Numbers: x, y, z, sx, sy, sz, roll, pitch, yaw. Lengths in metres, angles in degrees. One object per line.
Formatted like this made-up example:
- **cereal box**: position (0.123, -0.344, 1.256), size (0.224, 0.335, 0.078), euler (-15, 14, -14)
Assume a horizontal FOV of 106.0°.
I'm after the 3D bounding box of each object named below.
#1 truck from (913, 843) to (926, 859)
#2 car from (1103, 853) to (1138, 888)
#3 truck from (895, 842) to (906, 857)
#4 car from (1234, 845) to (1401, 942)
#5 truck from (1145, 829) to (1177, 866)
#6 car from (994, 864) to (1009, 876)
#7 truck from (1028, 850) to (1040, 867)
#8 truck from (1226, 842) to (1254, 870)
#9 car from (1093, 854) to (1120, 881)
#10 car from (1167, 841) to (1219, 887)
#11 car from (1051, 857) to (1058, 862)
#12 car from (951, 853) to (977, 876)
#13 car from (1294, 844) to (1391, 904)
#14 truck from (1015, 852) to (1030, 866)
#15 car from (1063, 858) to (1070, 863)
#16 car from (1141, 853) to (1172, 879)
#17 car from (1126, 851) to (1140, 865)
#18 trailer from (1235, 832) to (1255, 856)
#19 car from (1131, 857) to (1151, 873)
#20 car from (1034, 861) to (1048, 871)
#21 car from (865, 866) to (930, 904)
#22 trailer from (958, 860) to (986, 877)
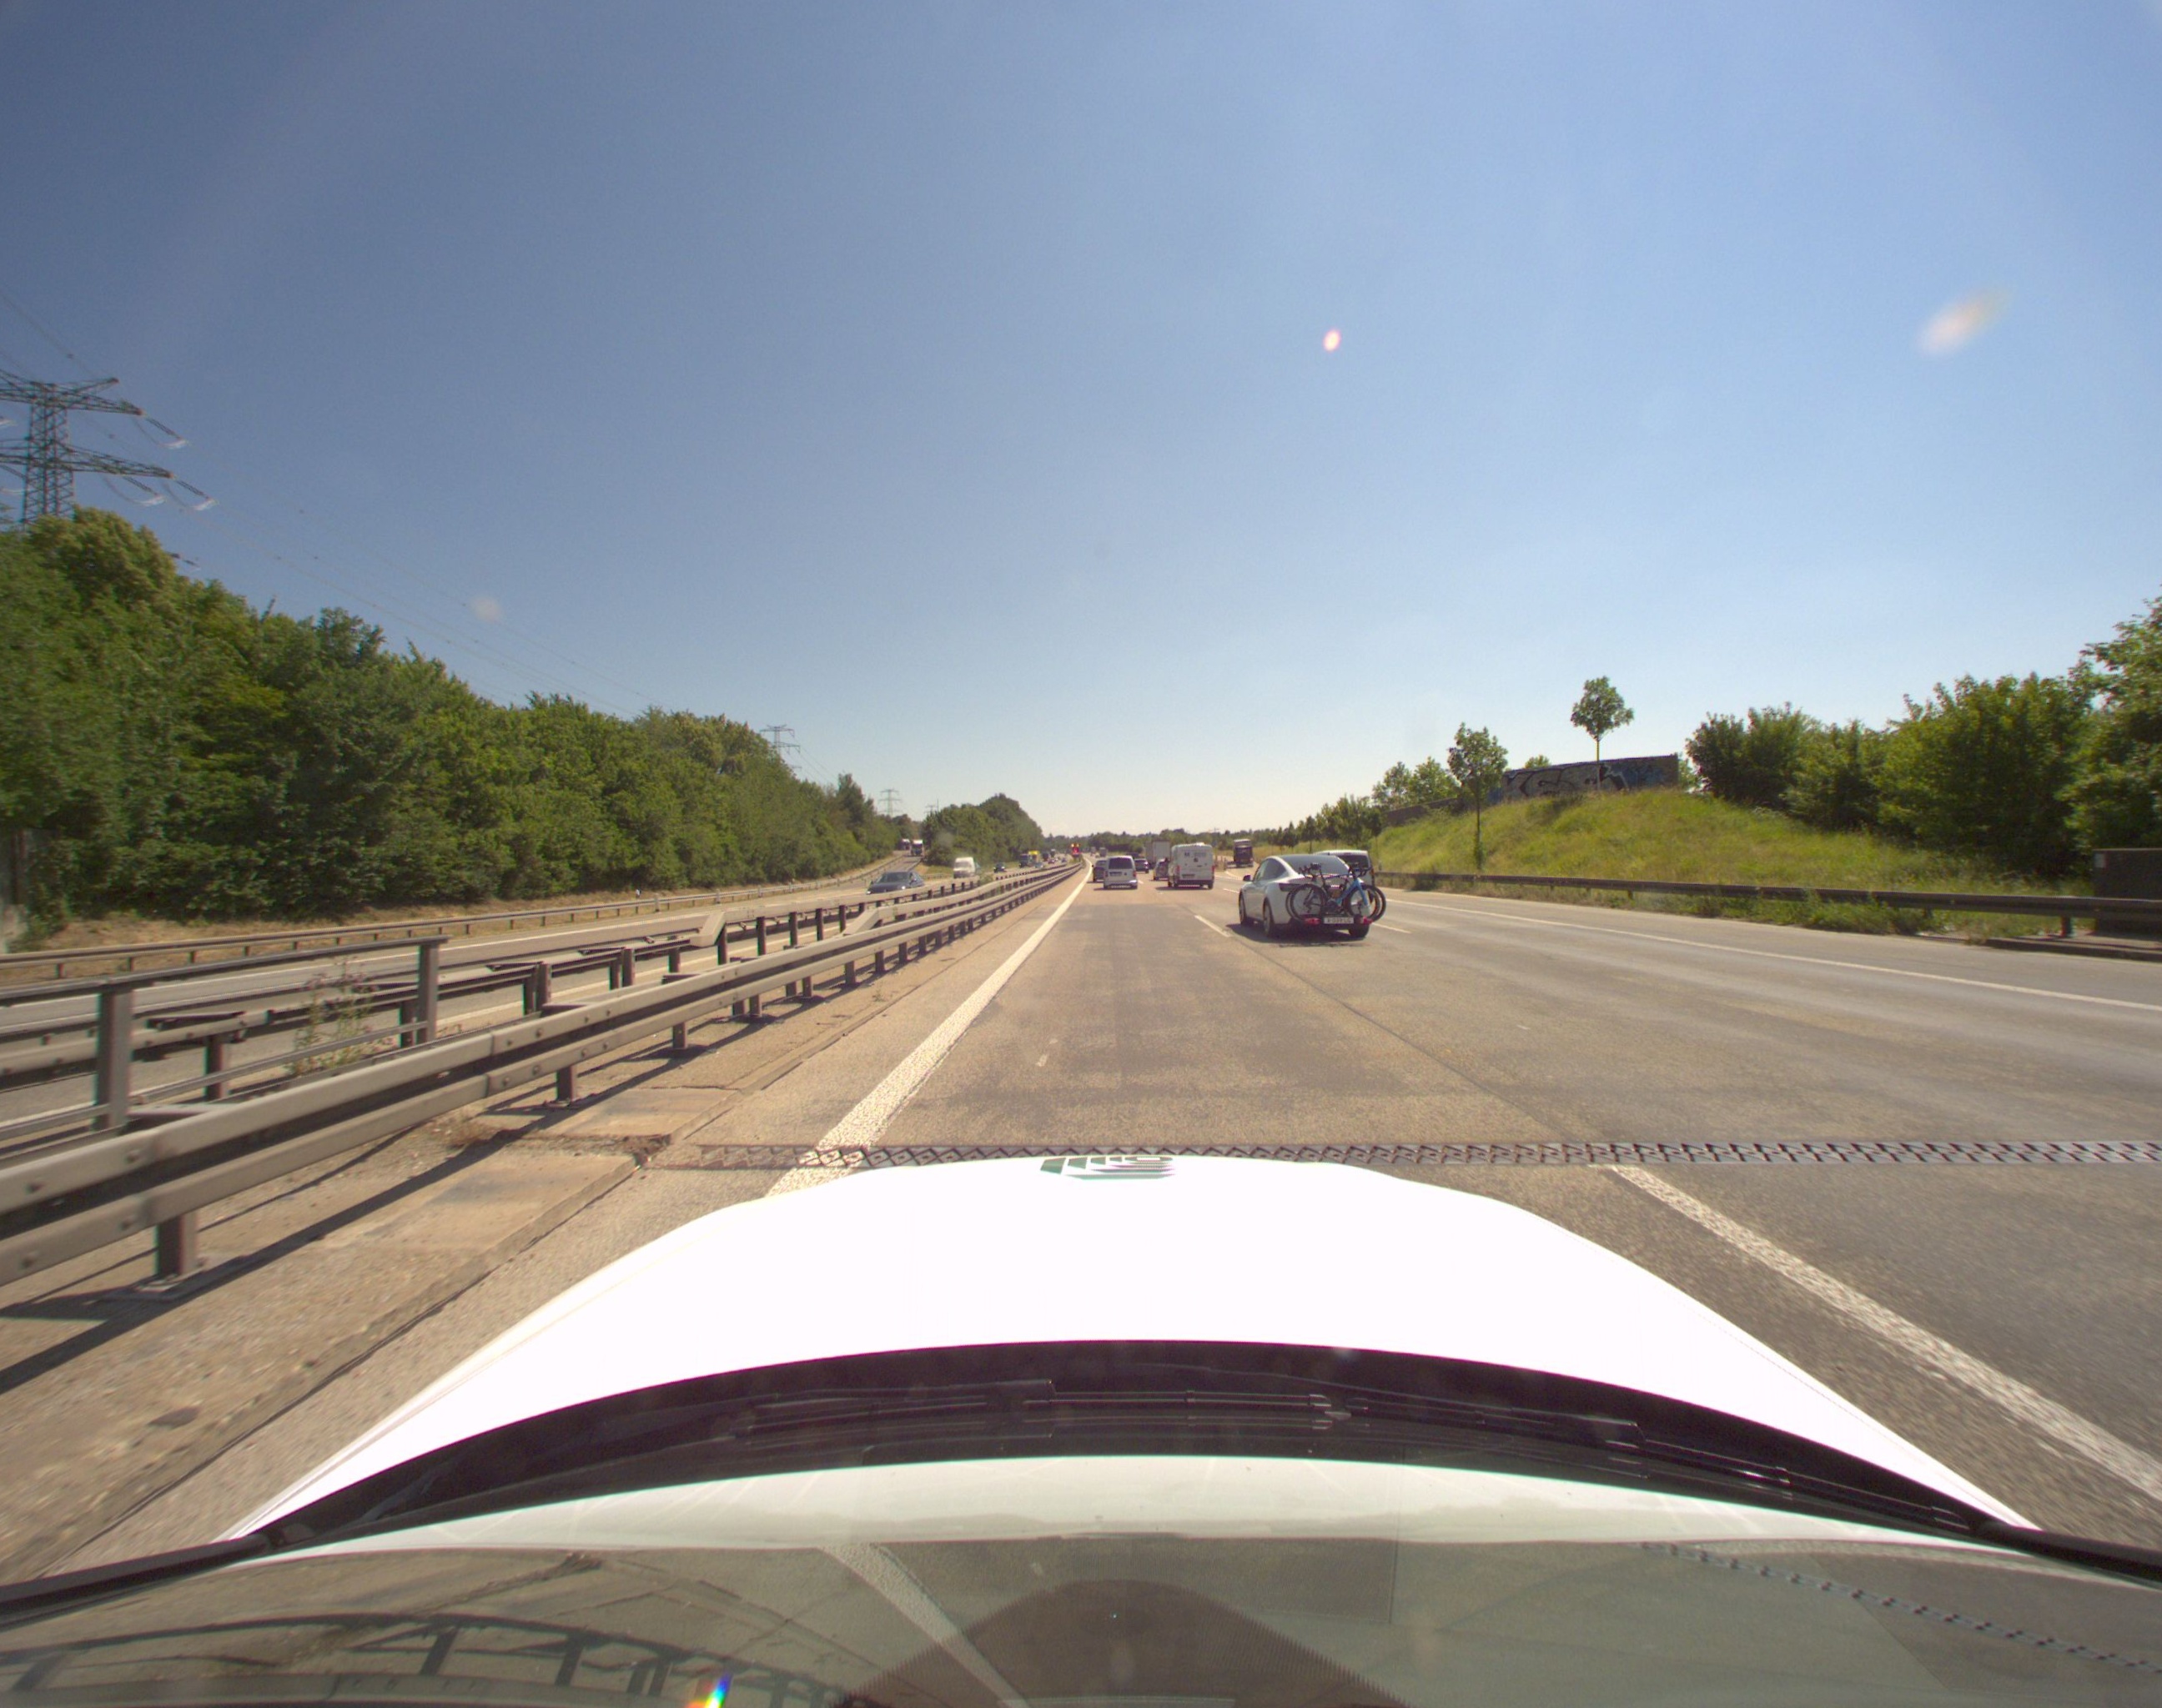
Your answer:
- **truck**: position (-40.529, -0.695, 204.571), size (2.942, 3.895, 4.314), euler (-2, 2, -7)
- **car**: position (2.084, 0.860, 44.014), size (1.738, 1.764, 4.090), euler (-2, -1, 2)
- **truck**: position (-49.147, -1.250, 221.632), size (2.551, 4.008, 11.745), euler (0, -1, -11)
- **car**: position (4.542, 0.697, 16.654), size (1.943, 1.636, 5.602), euler (0, 0, 2)
- **truck**: position (11.432, -0.804, 118.038), size (3.774, 5.000, 12.523), euler (0, -1, 2)
- **car**: position (-13.371, 2.627, 137.315), size (2.151, 1.800, 4.511), euler (-4, -1, -1)
- **truck**: position (-12.686, 1.243, 220.104), size (3.165, 4.341, 3.512), euler (-2, -1, -1)
- **truck**: position (24.584, 0.275, 125.429), size (3.762, 4.083, 12.561), euler (-1, -1, 13)
- **car**: position (1.776, 0.926, 56.958), size (1.738, 1.701, 4.090), euler (-2, -1, 2)
- **car**: position (5.871, 0.527, 43.223), size (2.173, 2.254, 5.365), euler (-1, 0, 2)
- **car**: position (-7.682, 1.643, 240.309), size (1.776, 1.530, 4.384), euler (-5, -1, 1)
- **car**: position (-14.344, 1.318, 100.196), size (2.102, 2.639, 6.005), euler (-3, -1, 1)
- **car**: position (8.916, 0.650, 28.160), size (1.944, 1.838, 4.177), euler (-2, -1, 0)
- **truck**: position (-13.924, 1.146, 195.128), size (2.904, 3.300, 5.332), euler (-2, 0, 1)
- **car**: position (-4.621, 2.031, 258.442), size (1.775, 1.624, 4.001), euler (-2, -1, 1)
- **car**: position (5.467, 0.857, 59.432), size (1.968, 1.733, 4.090), euler (-2, -1, 2)
- **car**: position (6.966, 0.545, 109.662), size (1.668, 1.891, 4.090), euler (-2, -1, 2)
- **trailer**: position (29.593, -1.684, 147.619), size (3.034, 4.083, 14.294), euler (-1, 0, 9)
- **car**: position (6.486, 1.211, 88.023), size (1.894, 1.672, 4.090), euler (-1, 0, 2)
- **car**: position (-6.558, 1.952, 134.159), size (1.775, 1.473, 4.356), euler (-3, 0, 2)
- **car**: position (-8.146, 1.340, 36.611), size (1.775, 1.473, 4.490), euler (-2, 0, 1)
- **trailer**: position (-14.228, 1.888, 106.564), size (2.756, 1.946, 6.720), euler (-4, -1, -1)
